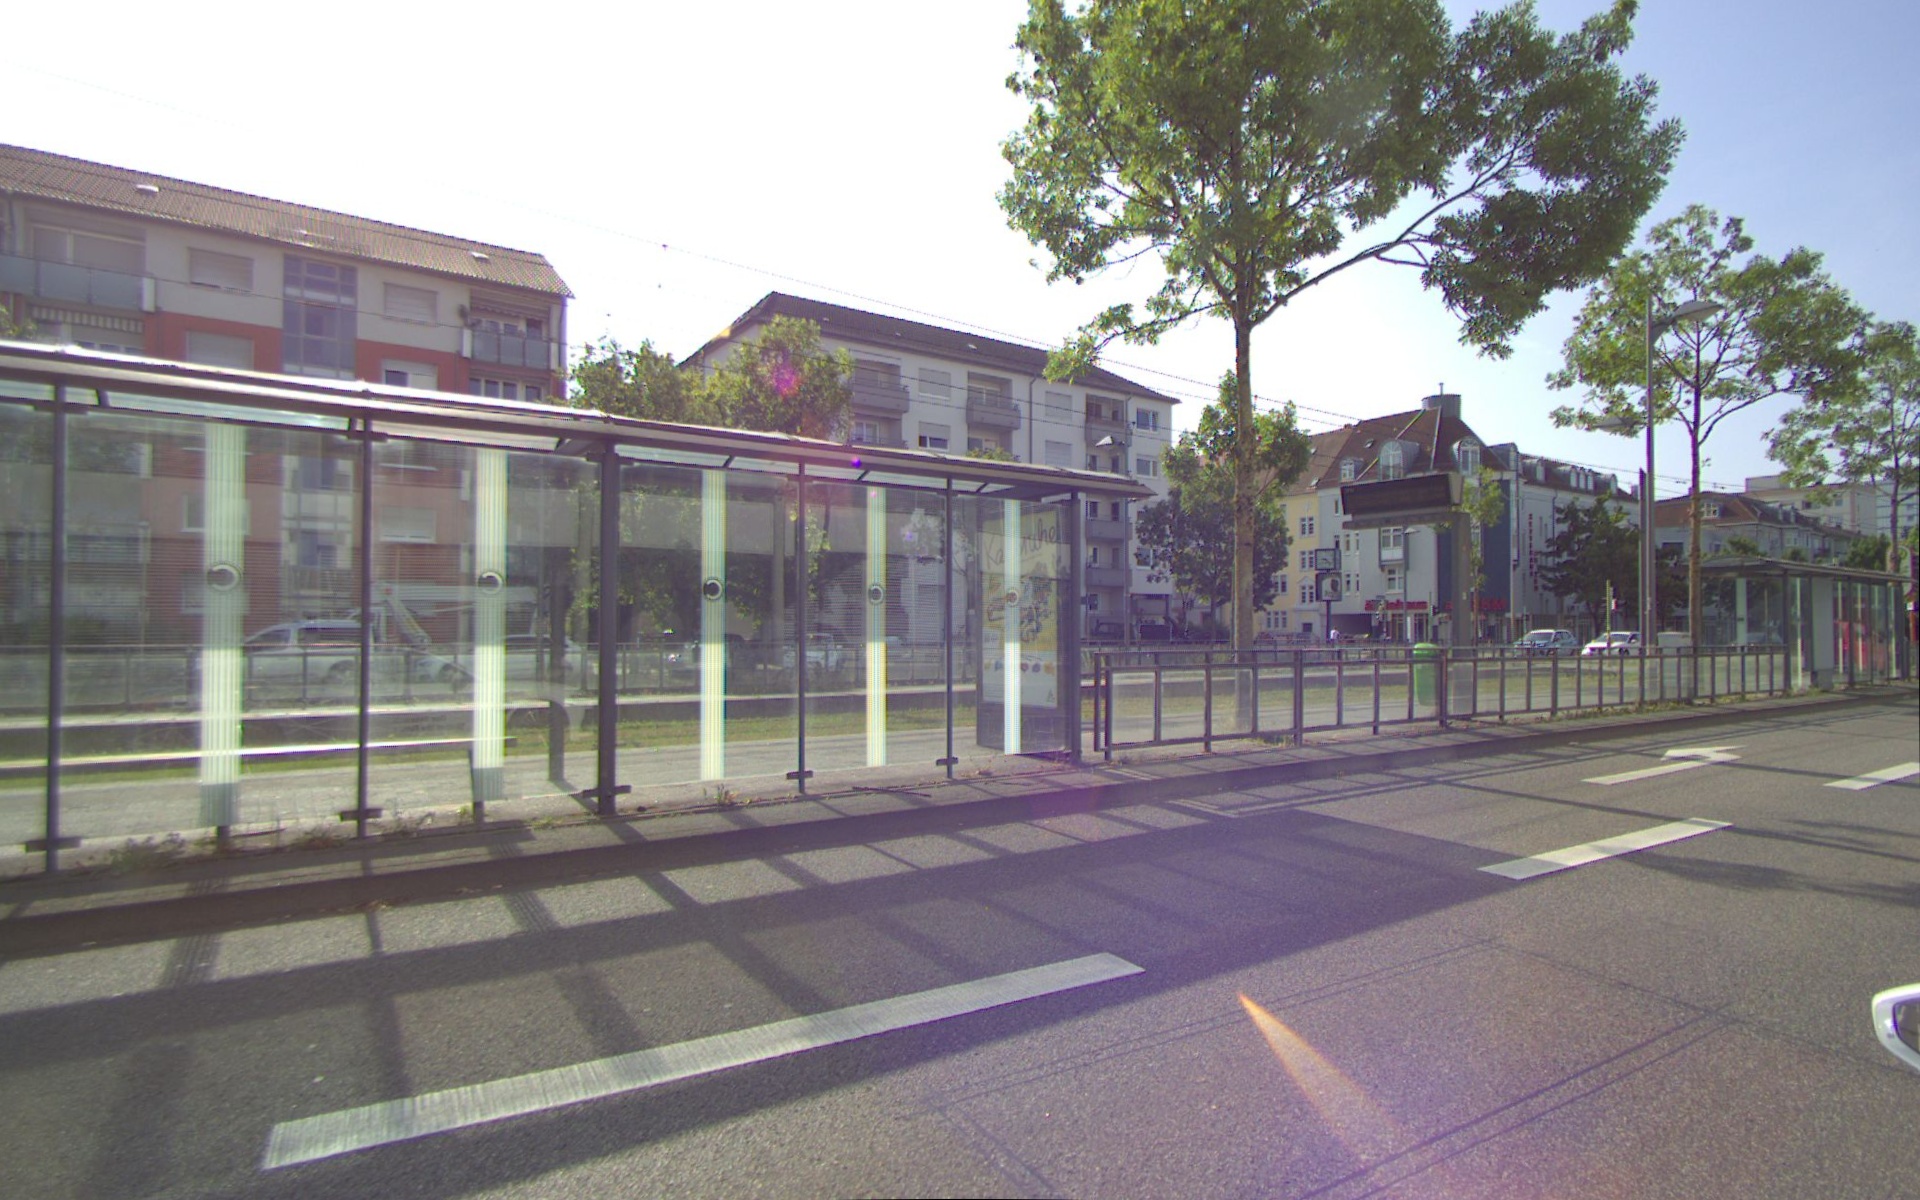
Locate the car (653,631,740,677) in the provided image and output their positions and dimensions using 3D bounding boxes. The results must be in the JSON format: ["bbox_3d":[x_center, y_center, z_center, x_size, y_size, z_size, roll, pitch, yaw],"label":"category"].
[{"bbox_3d":[-7.816,1.582,30.114,1.797,1.260,3.998,1,-2,-4],"label":"car"}]

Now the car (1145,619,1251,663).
[{"bbox_3d":[12.017,2.056,50.614,5.260,2.057,2.350,2,-1,-36],"label":"car"}]

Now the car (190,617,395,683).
[{"bbox_3d":[-17.054,1.258,25.815,4.239,1.533,1.967,2,-1,-36],"label":"car"}]

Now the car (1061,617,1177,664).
[{"bbox_3d":[7.534,1.902,47.241,5.260,2.057,2.350,2,-1,-36],"label":"car"}]

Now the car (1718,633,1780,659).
[{"bbox_3d":[49.795,2.887,63.354,3.955,1.595,1.865,1,-2,-32],"label":"car"}]

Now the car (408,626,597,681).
[{"bbox_3d":[-13.049,1.497,28.774,4.638,1.397,1.967,2,-1,-36],"label":"car"}]

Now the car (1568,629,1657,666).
[{"bbox_3d":[30.789,2.246,47.360,4.004,1.617,1.983,2,-1,-31],"label":"car"}]

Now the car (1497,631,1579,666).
[{"bbox_3d":[28.458,2.364,49.412,3.959,1.617,1.981,2,-1,-34],"label":"car"}]

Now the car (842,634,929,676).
[{"bbox_3d":[-2.510,1.777,33.032,1.909,1.260,3.984,1,-2,-19],"label":"car"}]

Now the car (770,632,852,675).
[{"bbox_3d":[-4.841,1.659,32.102,1.909,1.260,3.984,1,-2,-19],"label":"car"}]

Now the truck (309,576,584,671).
[{"bbox_3d":[-15.515,0.740,30.645,7.171,2.597,2.349,2,-1,-36],"label":"truck"}]
